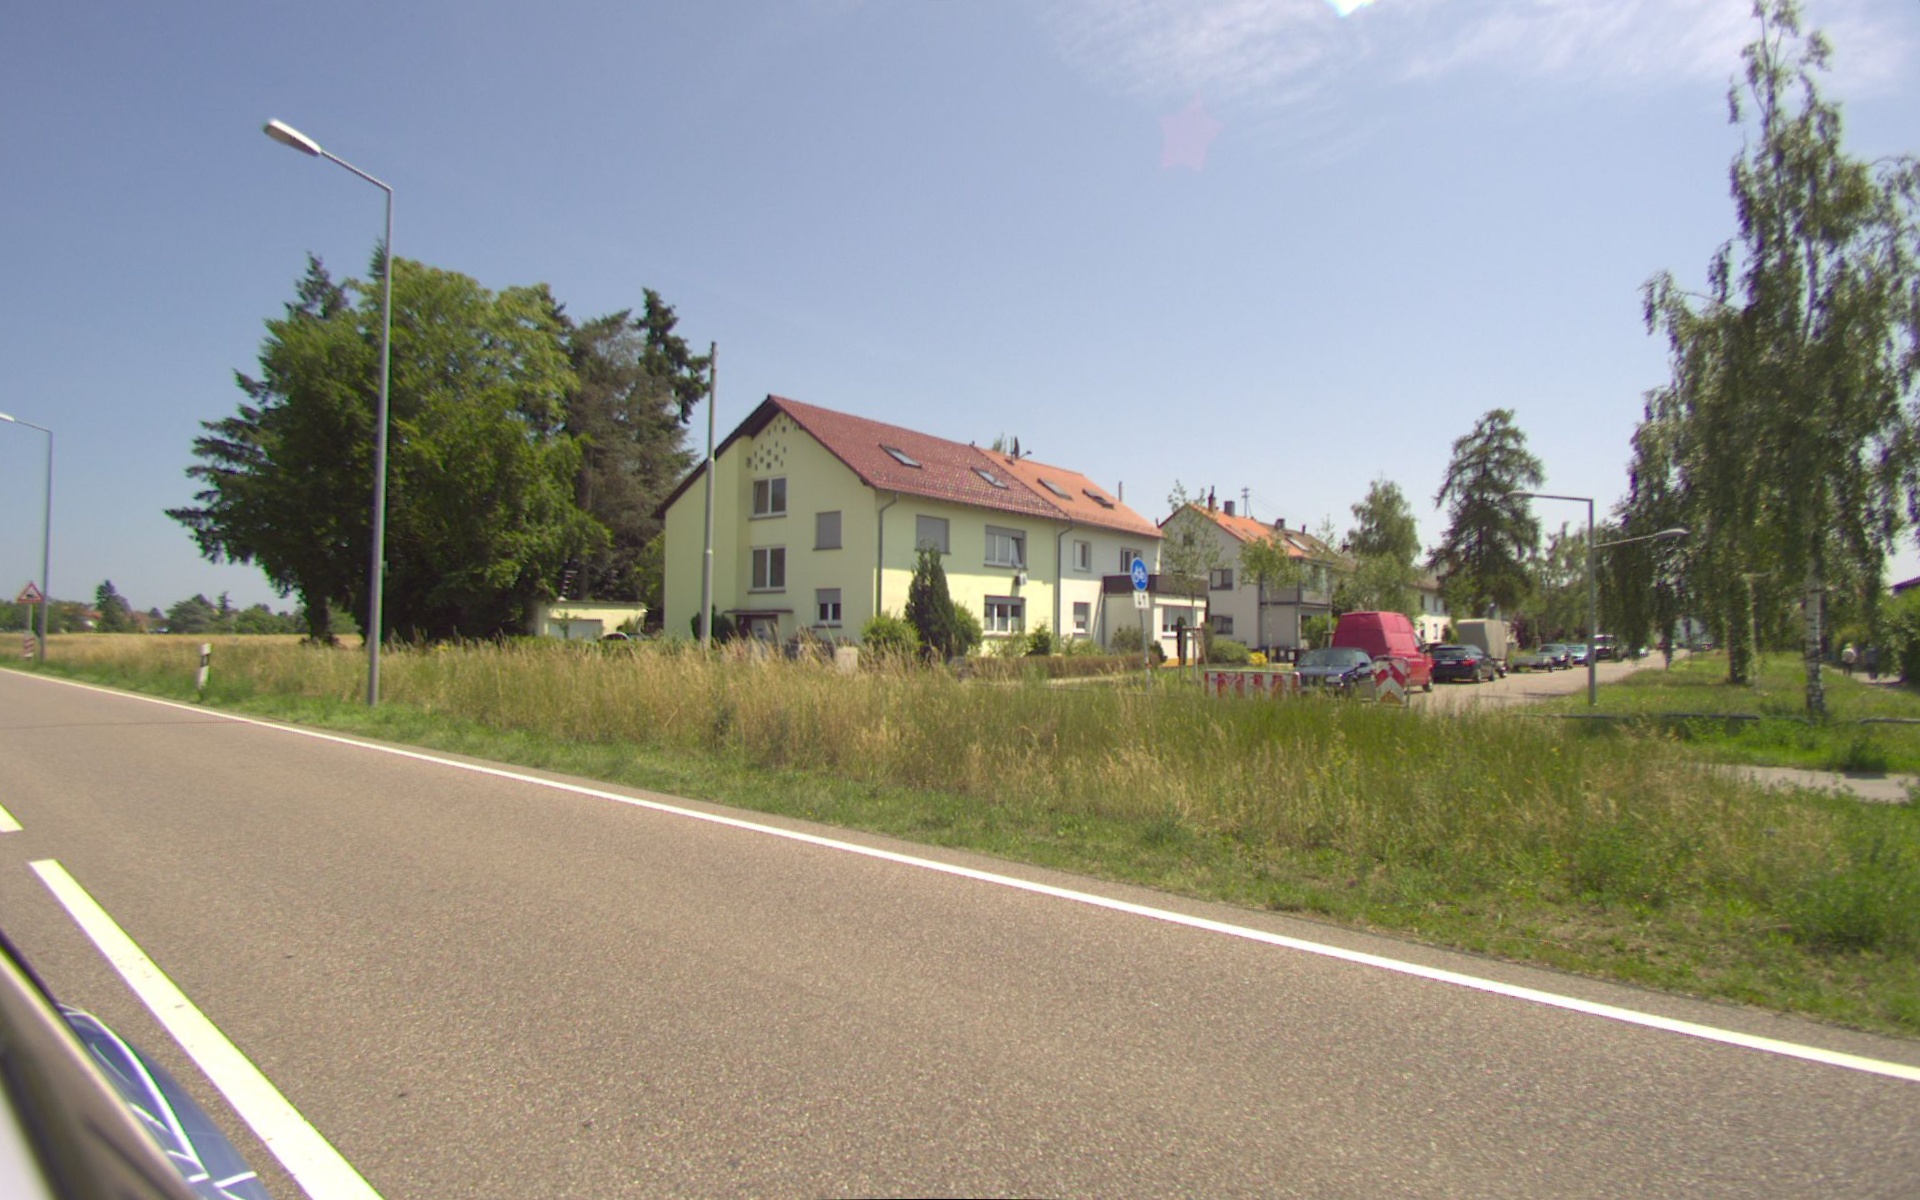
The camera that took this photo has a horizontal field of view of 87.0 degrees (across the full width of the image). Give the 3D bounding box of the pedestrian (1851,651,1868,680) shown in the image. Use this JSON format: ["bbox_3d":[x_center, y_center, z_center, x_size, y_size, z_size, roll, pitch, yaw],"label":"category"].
[{"bbox_3d":[41.616,3.014,46.822,0.540,1.308,0.560,-2,-3,38],"label":"pedestrian"}]

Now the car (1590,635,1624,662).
[{"bbox_3d":[51.505,3.818,80.503,1.866,1.985,4.431,-1,-1,38],"label":"car"}]

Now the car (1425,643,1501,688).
[{"bbox_3d":[19.280,2.448,38.720,1.866,1.530,3.949,-1,-1,38],"label":"car"}]

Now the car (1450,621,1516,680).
[{"bbox_3d":[22.700,2.123,43.854,1.866,2.418,3.949,-1,-1,38],"label":"car"}]

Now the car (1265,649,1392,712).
[{"bbox_3d":[9.529,2.000,25.989,1.997,1.364,3.950,-1,-1,37],"label":"car"}]

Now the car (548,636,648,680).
[{"bbox_3d":[-13.418,2.106,37.405,4.184,1.503,1.688,-1,-2,41],"label":"car"}]

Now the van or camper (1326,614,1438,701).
[{"bbox_3d":[12.753,1.638,30.433,1.997,2.406,4.710,-1,-1,37],"label":"van or camper"}]

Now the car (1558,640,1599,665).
[{"bbox_3d":[40.944,3.444,66.936,1.866,1.455,4.431,-1,-1,38],"label":"car"}]

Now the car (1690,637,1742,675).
[{"bbox_3d":[29.858,2.185,39.969,1.567,1.347,3.264,-1,-1,37],"label":"car"}]

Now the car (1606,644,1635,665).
[{"bbox_3d":[60.819,5.012,93.141,1.866,1.712,4.431,-1,-1,38],"label":"car"}]

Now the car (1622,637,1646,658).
[{"bbox_3d":[71.429,5.008,107.236,1.866,1.985,4.431,-1,-1,38],"label":"car"}]

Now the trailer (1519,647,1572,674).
[{"bbox_3d":[31.061,3.167,53.631,1.866,1.234,4.430,-1,-1,38],"label":"trailer"}]

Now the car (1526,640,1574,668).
[{"bbox_3d":[34.347,3.099,58.879,1.866,1.455,4.431,-1,-1,38],"label":"car"}]
